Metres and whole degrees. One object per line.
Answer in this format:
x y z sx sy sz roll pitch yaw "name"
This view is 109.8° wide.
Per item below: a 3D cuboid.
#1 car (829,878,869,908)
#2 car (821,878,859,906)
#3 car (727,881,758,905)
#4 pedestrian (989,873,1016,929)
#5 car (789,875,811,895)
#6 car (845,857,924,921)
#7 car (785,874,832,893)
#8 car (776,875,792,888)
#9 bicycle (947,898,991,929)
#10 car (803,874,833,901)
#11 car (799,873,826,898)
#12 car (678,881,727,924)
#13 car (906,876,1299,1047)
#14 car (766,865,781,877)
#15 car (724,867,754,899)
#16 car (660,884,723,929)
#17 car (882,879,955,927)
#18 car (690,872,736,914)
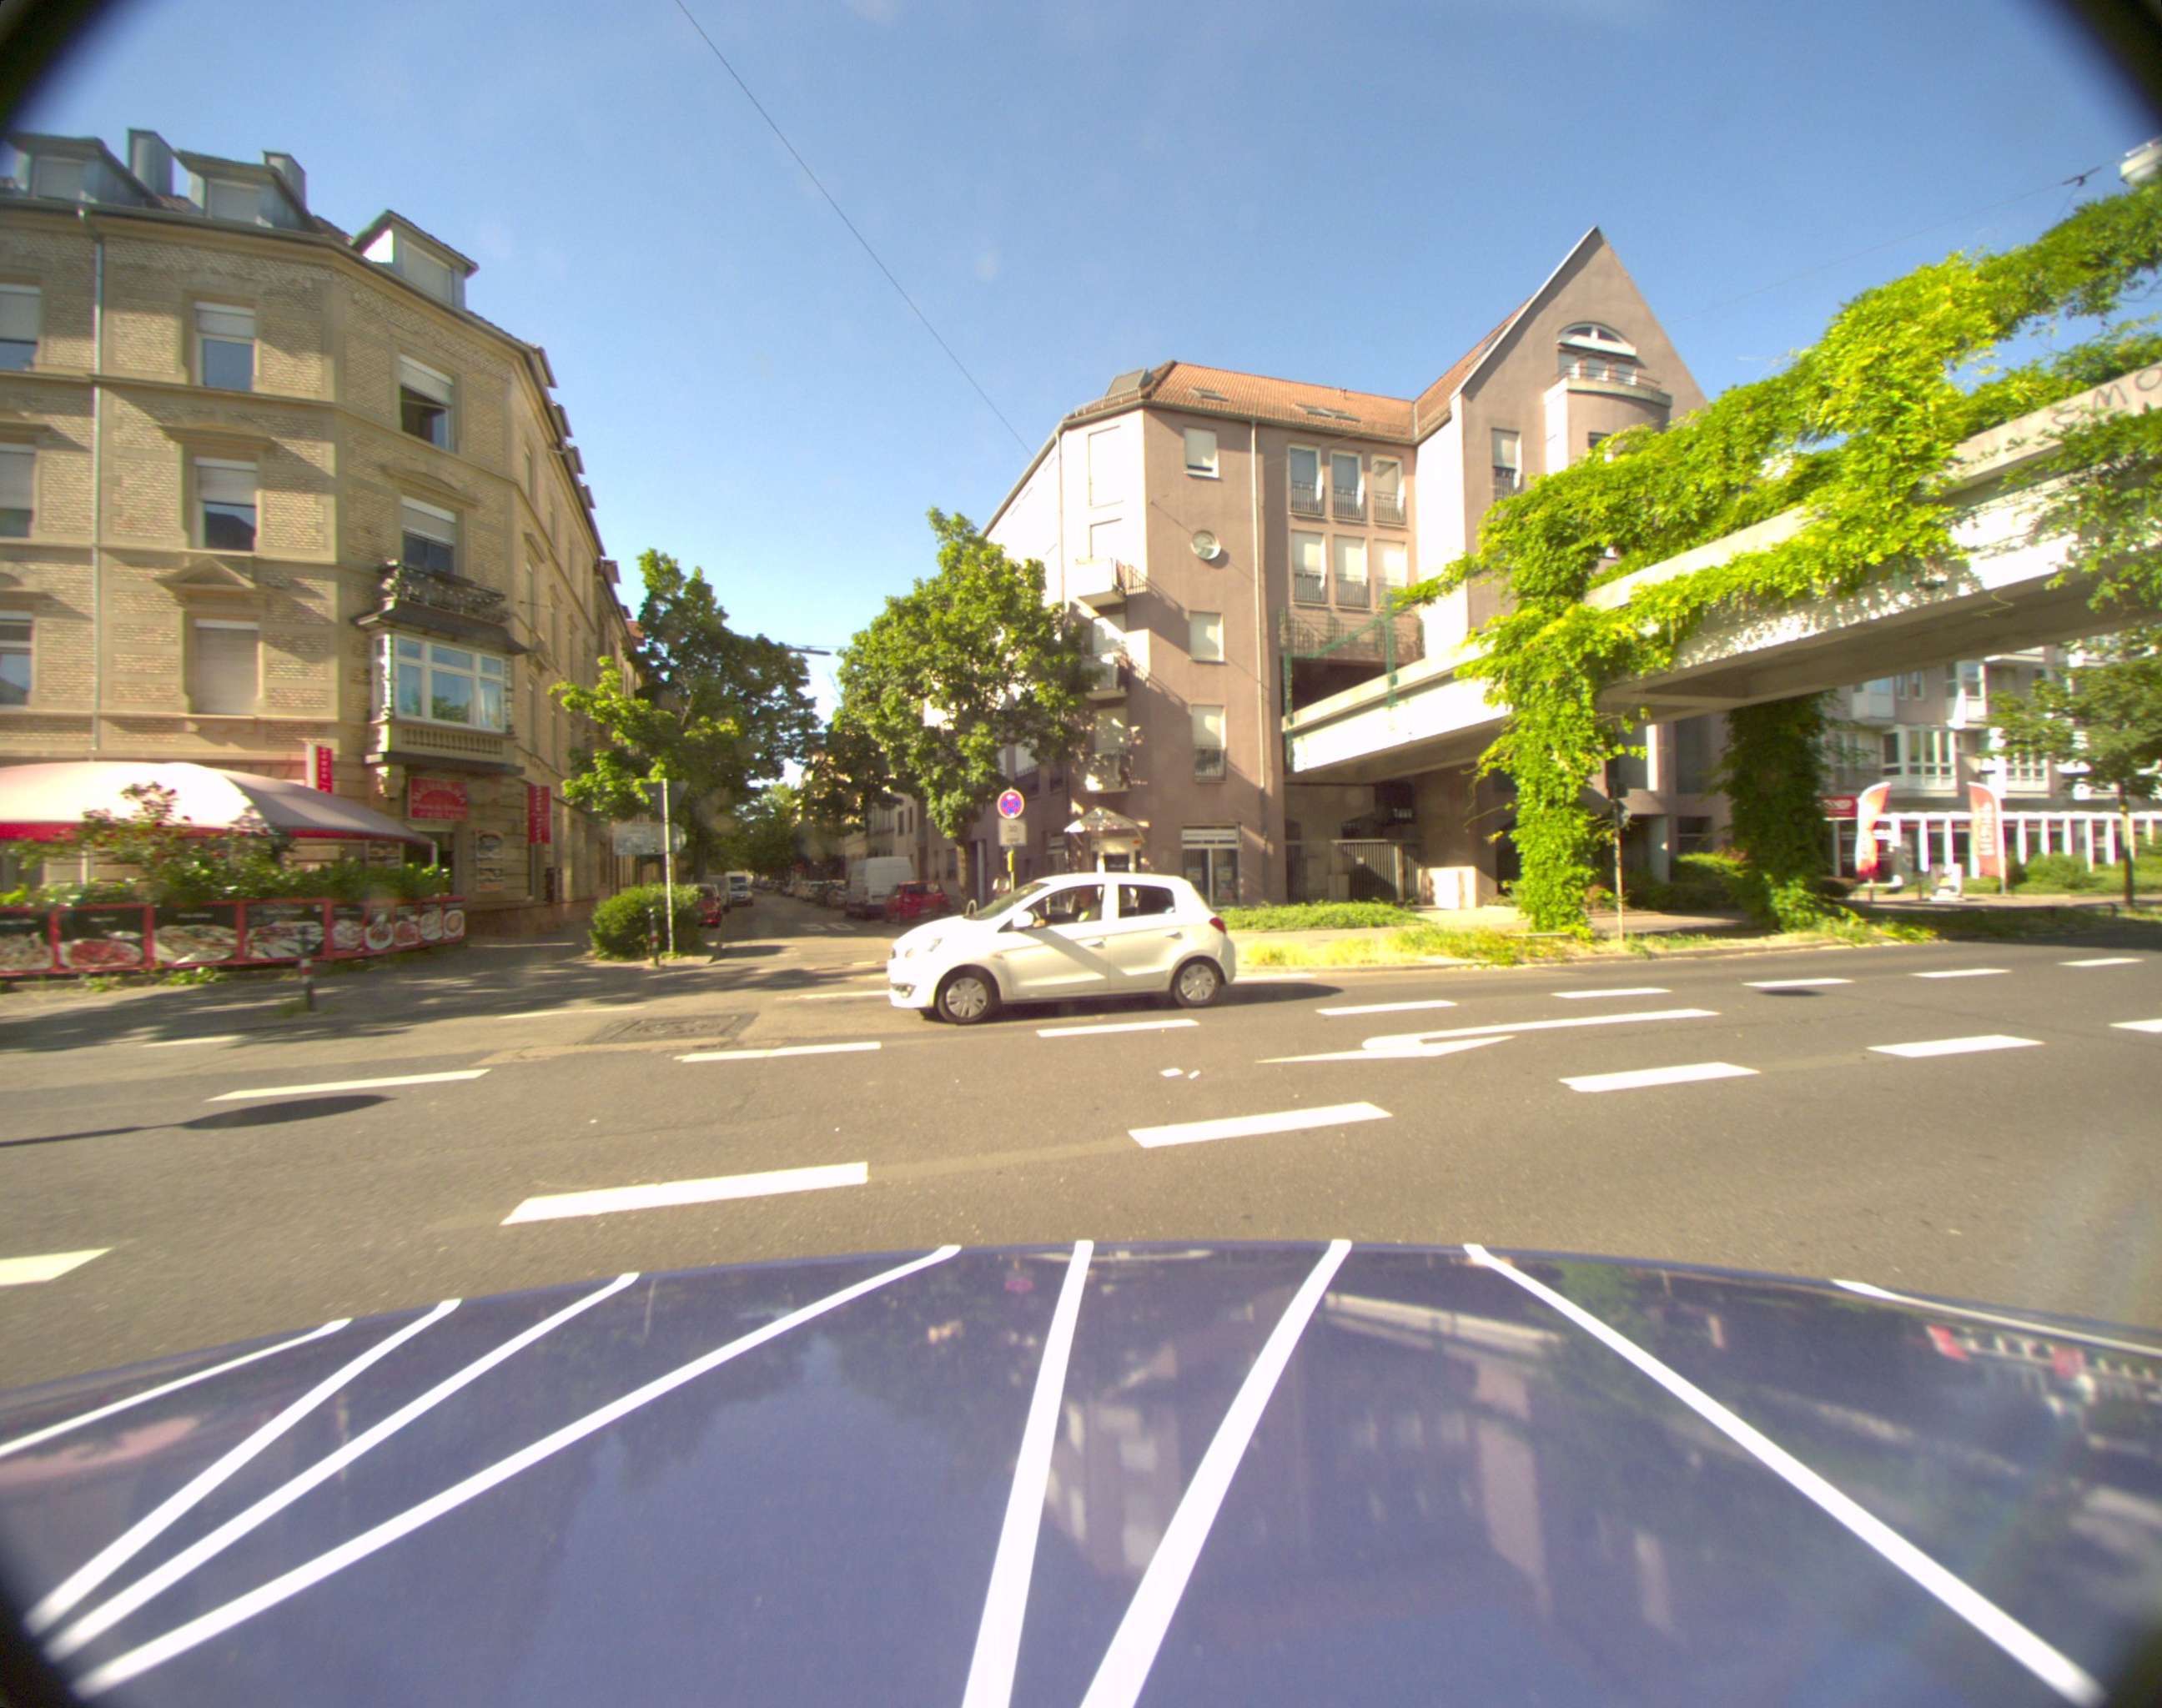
-12.997 2.128 42.484 1.697 1.547 3.815 -1 -1 -24 "car"
-14.714 2.274 46.279 1.788 1.547 3.815 -1 -1 -24 "car"
-22.274 2.548 49.929 1.697 1.464 3.993 -1 -2 -25 "car"
-2.264 1.348 21.897 0.633 1.567 0.532 -1 0 10 "pedestrian"
-27.416 3.019 74.139 1.779 1.870 3.993 -1 -1 -23 "car"
-8.328 1.388 31.825 2.223 2.436 5.085 -1 -1 -26 "car"
-25.179 2.735 70.185 4.005 1.576 1.815 -1 -3 -24 "car"
-41.769 3.816 106.786 1.871 1.759 3.992 -1 -1 -25 "car"
-3.195 1.687 21.698 1.205 0.818 0.293 -1 0 -25 "bicycle"
-19.492 2.474 56.222 1.779 1.870 3.993 -1 -1 -23 "car"
-22.027 2.534 62.239 1.779 1.870 3.993 -1 -1 -23 "car"
-15.566 1.966 31.346 1.697 1.585 3.993 -1 -2 -25 "car"
0.178 1.062 8.573 4.102 1.521 1.663 -1 -1 -16 "car"
-47.826 2.627 118.234 1.871 1.759 3.992 -1 -1 -25 "car"
-29.426 2.517 65.295 2.279 2.645 4.315 -1 -3 -25 "car"
-13.598 1.829 26.733 1.782 1.432 3.993 3 -4 -25 "car"
-5.703 1.644 26.370 1.695 1.454 3.993 -1 -1 -24 "car"
-19.280 2.021 39.945 1.999 2.016 4.296 -1 -2 -24 "car"
